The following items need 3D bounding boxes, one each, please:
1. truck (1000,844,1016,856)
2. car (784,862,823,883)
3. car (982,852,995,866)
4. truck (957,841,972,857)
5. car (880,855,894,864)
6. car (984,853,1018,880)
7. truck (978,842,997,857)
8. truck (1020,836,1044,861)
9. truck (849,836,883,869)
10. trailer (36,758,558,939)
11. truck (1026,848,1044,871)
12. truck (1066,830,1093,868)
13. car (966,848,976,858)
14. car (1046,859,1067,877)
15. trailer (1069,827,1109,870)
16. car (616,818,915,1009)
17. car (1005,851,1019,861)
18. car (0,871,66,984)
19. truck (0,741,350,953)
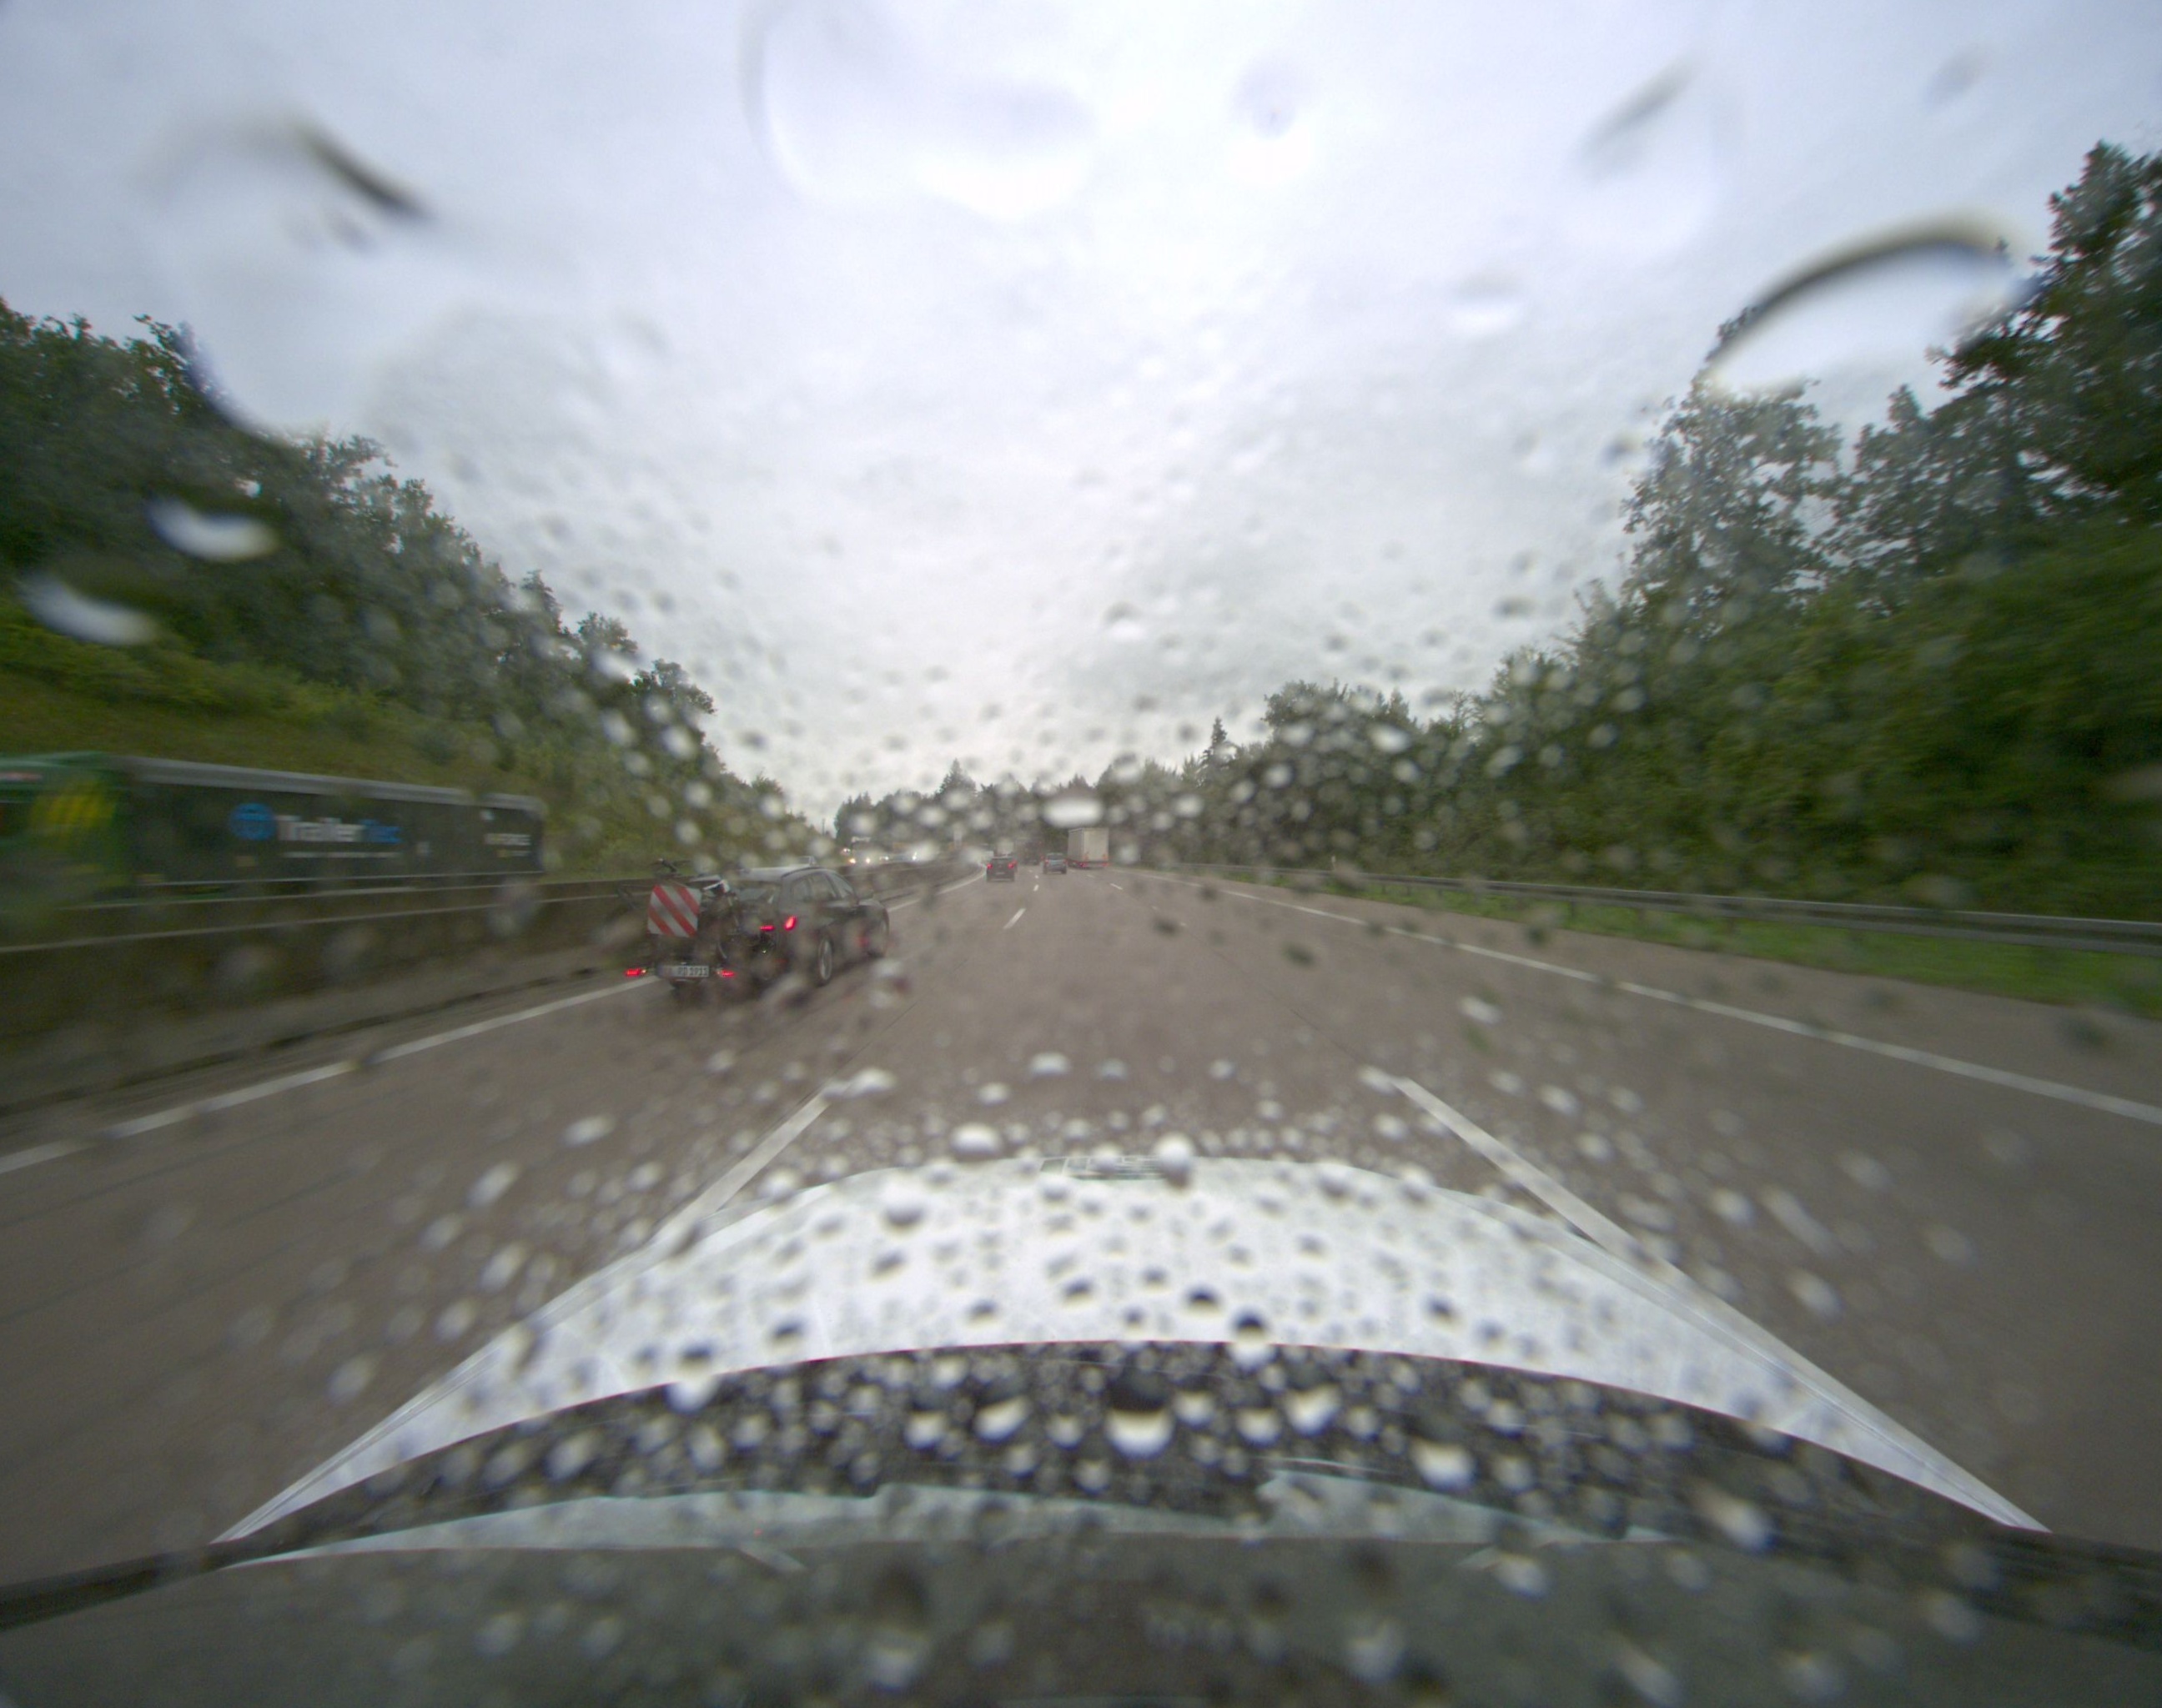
[{"bbox_3d":[-15.345,-0.810,170.410,2.973,2.309,6.647,1,0,-9],"label":"truck"},{"bbox_3d":[-21.429,1.374,63.038,1.726,1.493,3.998,-1,0,-1],"label":"car"},{"bbox_3d":[-13.782,0.726,121.256,1.721,2.013,3.652,-1,0,-3],"label":"car"},{"bbox_3d":[-32.394,-1.272,225.868,3.741,4.210,6.793,-1,0,-11],"label":"truck"},{"bbox_3d":[-34.131,0.927,143.075,1.728,1.576,4.236,-1,0,-5],"label":"car"},{"bbox_3d":[-4.696,0.699,48.114,1.679,1.462,3.682,1,0,-1],"label":"car"},{"bbox_3d":[-18.978,-0.882,164.914,3.085,2.905,7.871,0,1,-12],"label":"truck"},{"bbox_3d":[-8.405,-1.009,138.809,3.367,4.131,10.410,0,1,-8],"label":"truck"},{"bbox_3d":[-27.099,-0.197,102.887,2.902,3.889,7.351,-1,0,-5],"label":"truck"},{"bbox_3d":[-21.705,-0.121,24.804,2.918,3.960,13.460,-1,0,0],"label":"trailer"},{"bbox_3d":[-6.095,0.658,109.236,2.263,2.886,7.897,0,1,-2],"label":"truck"},{"bbox_3d":[-0.232,-0.585,90.211,2.418,4.068,4.966,0,0,-7],"label":"truck"},{"bbox_3d":[-22.430,-0.228,165.911,1.994,2.059,3.986,-1,0,-10],"label":"car"},{"bbox_3d":[-1.963,1.075,64.125,1.550,1.351,3.680,1,0,-2],"label":"car"},{"bbox_3d":[0.703,-0.548,83.112,2.418,4.068,12.024,0,1,-7],"label":"trailer"},{"bbox_3d":[-3.890,0.614,11.518,1.902,1.945,6.159,-1,0,-1],"label":"car"},{"bbox_3d":[-10.516,0.296,124.598,1.877,1.473,3.997,1,0,-2],"label":"car"},{"bbox_3d":[-16.433,1.074,9.950,1.986,1.585,4.773,-1,0,1],"label":"car"},{"bbox_3d":[-21.676,-0.112,18.432,2.918,3.960,8.115,-1,0,0],"label":"truck"}]
